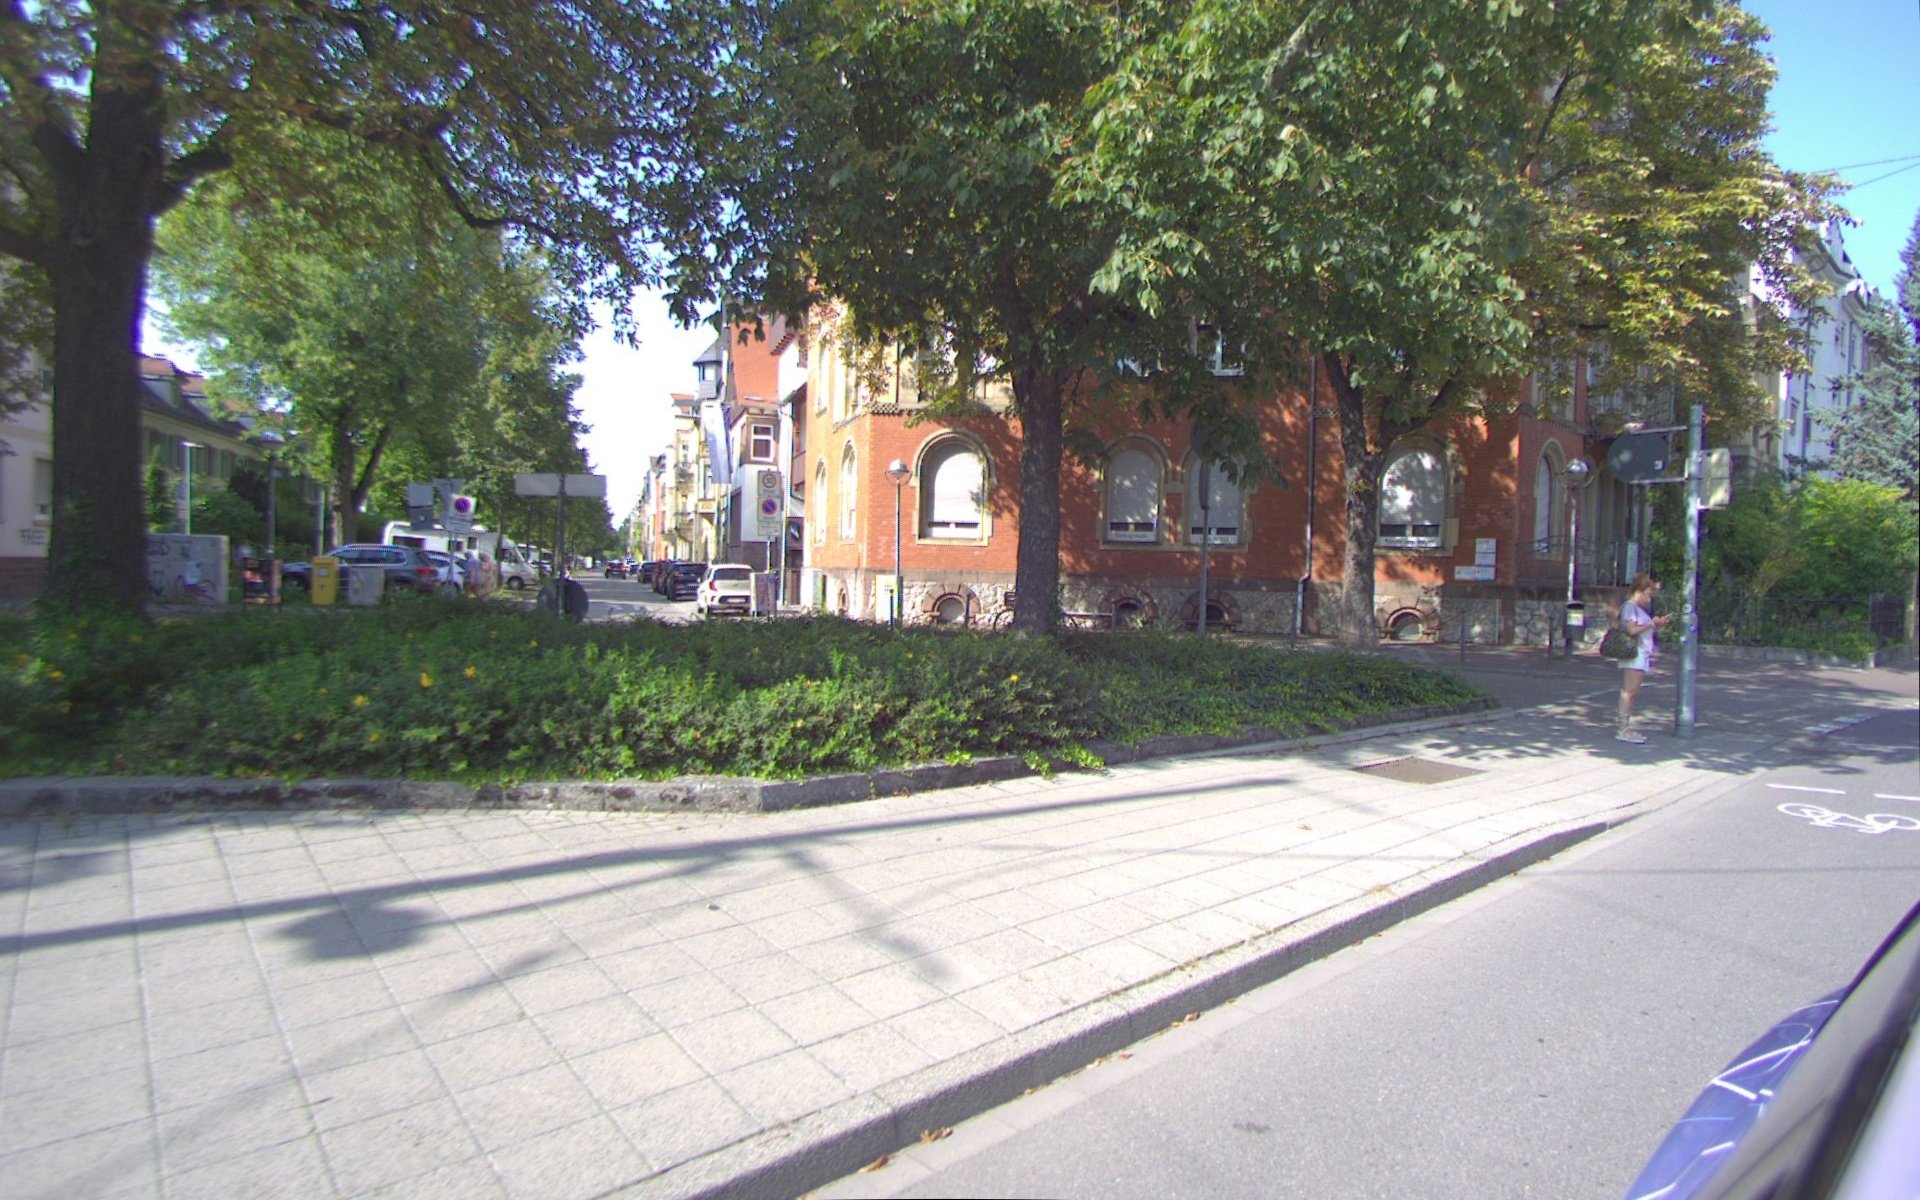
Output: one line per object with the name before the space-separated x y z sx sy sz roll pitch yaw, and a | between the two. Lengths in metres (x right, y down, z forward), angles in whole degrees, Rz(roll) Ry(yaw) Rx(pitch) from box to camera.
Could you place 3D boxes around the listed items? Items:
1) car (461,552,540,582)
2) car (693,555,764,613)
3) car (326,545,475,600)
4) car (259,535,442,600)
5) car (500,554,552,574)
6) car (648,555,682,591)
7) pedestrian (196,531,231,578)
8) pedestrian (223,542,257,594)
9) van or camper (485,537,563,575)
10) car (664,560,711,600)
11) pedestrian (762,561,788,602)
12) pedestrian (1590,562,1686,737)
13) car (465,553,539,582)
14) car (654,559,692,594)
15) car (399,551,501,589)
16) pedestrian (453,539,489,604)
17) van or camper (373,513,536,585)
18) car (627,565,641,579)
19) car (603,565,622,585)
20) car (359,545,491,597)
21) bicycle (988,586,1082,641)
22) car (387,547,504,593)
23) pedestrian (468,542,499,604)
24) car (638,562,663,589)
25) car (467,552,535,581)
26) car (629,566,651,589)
car | -25.852 -1.862 56.969 3.938 1.385 1.666 4 0 -26
car | -6.964 -0.510 30.213 1.588 1.586 4.009 1 2 -20
car | -18.227 -0.889 33.205 4.108 1.480 1.666 4 0 -26
car | -16.779 -0.873 28.077 4.107 1.658 1.667 1 2 -21
car | -37.252 -3.091 86.949 3.938 1.385 1.666 4 0 -26
car | -16.703 -1.524 57.292 1.588 1.946 4.009 1 2 -20
pedestrian | -25.636 -1.560 34.768 0.754 1.566 0.860 1 1 -22
pedestrian | -24.947 -1.104 35.077 0.754 1.782 0.860 1 1 -21
van or camper | -39.557 -3.947 91.979 6.197 2.919 2.004 3 -2 -20
car | -11.519 -0.881 42.585 1.588 1.586 4.009 1 2 -20
pedestrian | -6.228 -0.636 34.053 0.703 1.341 0.680 1 1 -20
pedestrian | 6.996 0.487 10.449 0.648 1.739 0.544 1 1 -30
car | -27.843 -1.948 61.566 3.938 1.454 1.666 4 0 -26
car | -14.913 -1.263 52.457 1.588 1.722 4.009 1 2 -20
car | -22.668 -1.328 45.097 3.938 1.385 1.666 4 0 -26
pedestrian | -13.585 -0.791 28.126 0.644 1.786 0.605 1 1 11
van or camper | -24.523 -2.437 49.468 6.796 2.919 2.004 3 -2 -22
car | -41.688 -3.574 129.394 1.588 1.730 4.009 1 2 -20
car | -32.060 -2.302 93.273 1.588 1.730 4.009 1 2 -20
car | -18.644 -0.996 35.449 3.938 1.480 1.666 4 0 -26
bicycle | 1.465 0.269 19.950 1.805 1.072 0.608 0 -1 1
car | -20.093 -1.174 39.665 3.938 1.480 1.666 4 0 -26
pedestrian | -13.945 -0.790 29.616 0.581 1.786 0.606 1 1 9
car | -23.370 -1.847 76.318 1.588 1.946 4.009 1 2 -20
car | -30.370 -2.236 66.969 3.938 1.611 1.666 4 0 -26
car | -27.526 -1.945 87.026 1.588 1.946 4.009 1 2 -20
